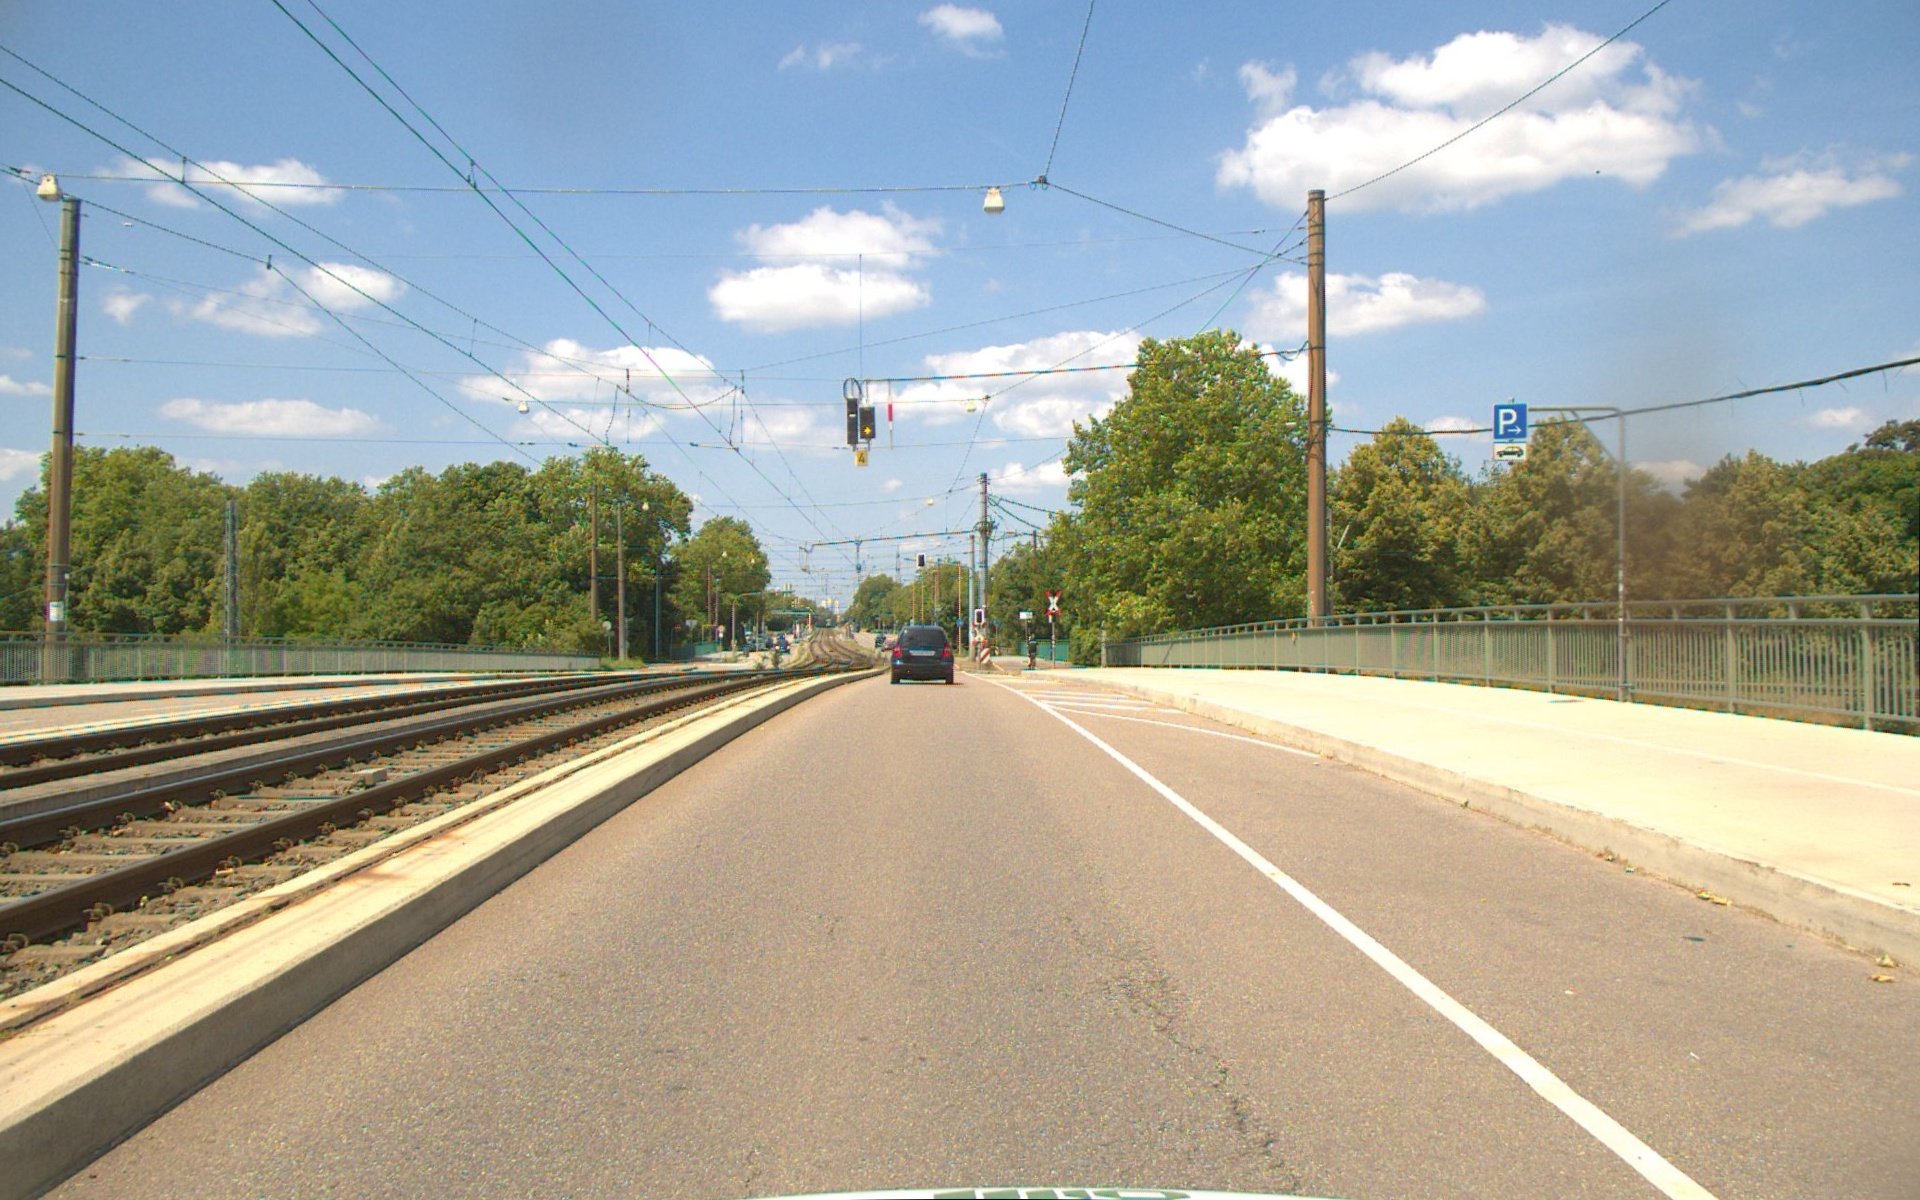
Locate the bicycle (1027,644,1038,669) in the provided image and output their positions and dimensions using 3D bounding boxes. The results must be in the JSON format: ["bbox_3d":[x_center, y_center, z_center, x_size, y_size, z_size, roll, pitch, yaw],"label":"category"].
[{"bbox_3d":[3.647,2.857,83.326,0.423,1.172,1.855,1,0,0],"label":"bicycle"}]

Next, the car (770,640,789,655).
[{"bbox_3d":[-19.798,5.202,181.679,1.670,1.537,3.732,-1,-1,-1],"label":"car"}]

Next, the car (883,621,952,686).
[{"bbox_3d":[-1.180,1.465,46.392,1.815,1.597,4.387,1,1,-1],"label":"car"}]

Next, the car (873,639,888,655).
[{"bbox_3d":[-10.841,6.358,225.250,1.953,2.049,3.999,1,0,-2],"label":"car"}]

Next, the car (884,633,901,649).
[{"bbox_3d":[-7.883,4.837,194.025,1.846,1.668,3.999,3,0,-1],"label":"car"}]

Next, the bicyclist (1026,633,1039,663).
[{"bbox_3d":[3.652,2.413,83.361,0.573,1.521,0.558,1,0,0],"label":"bicyclist"}]
